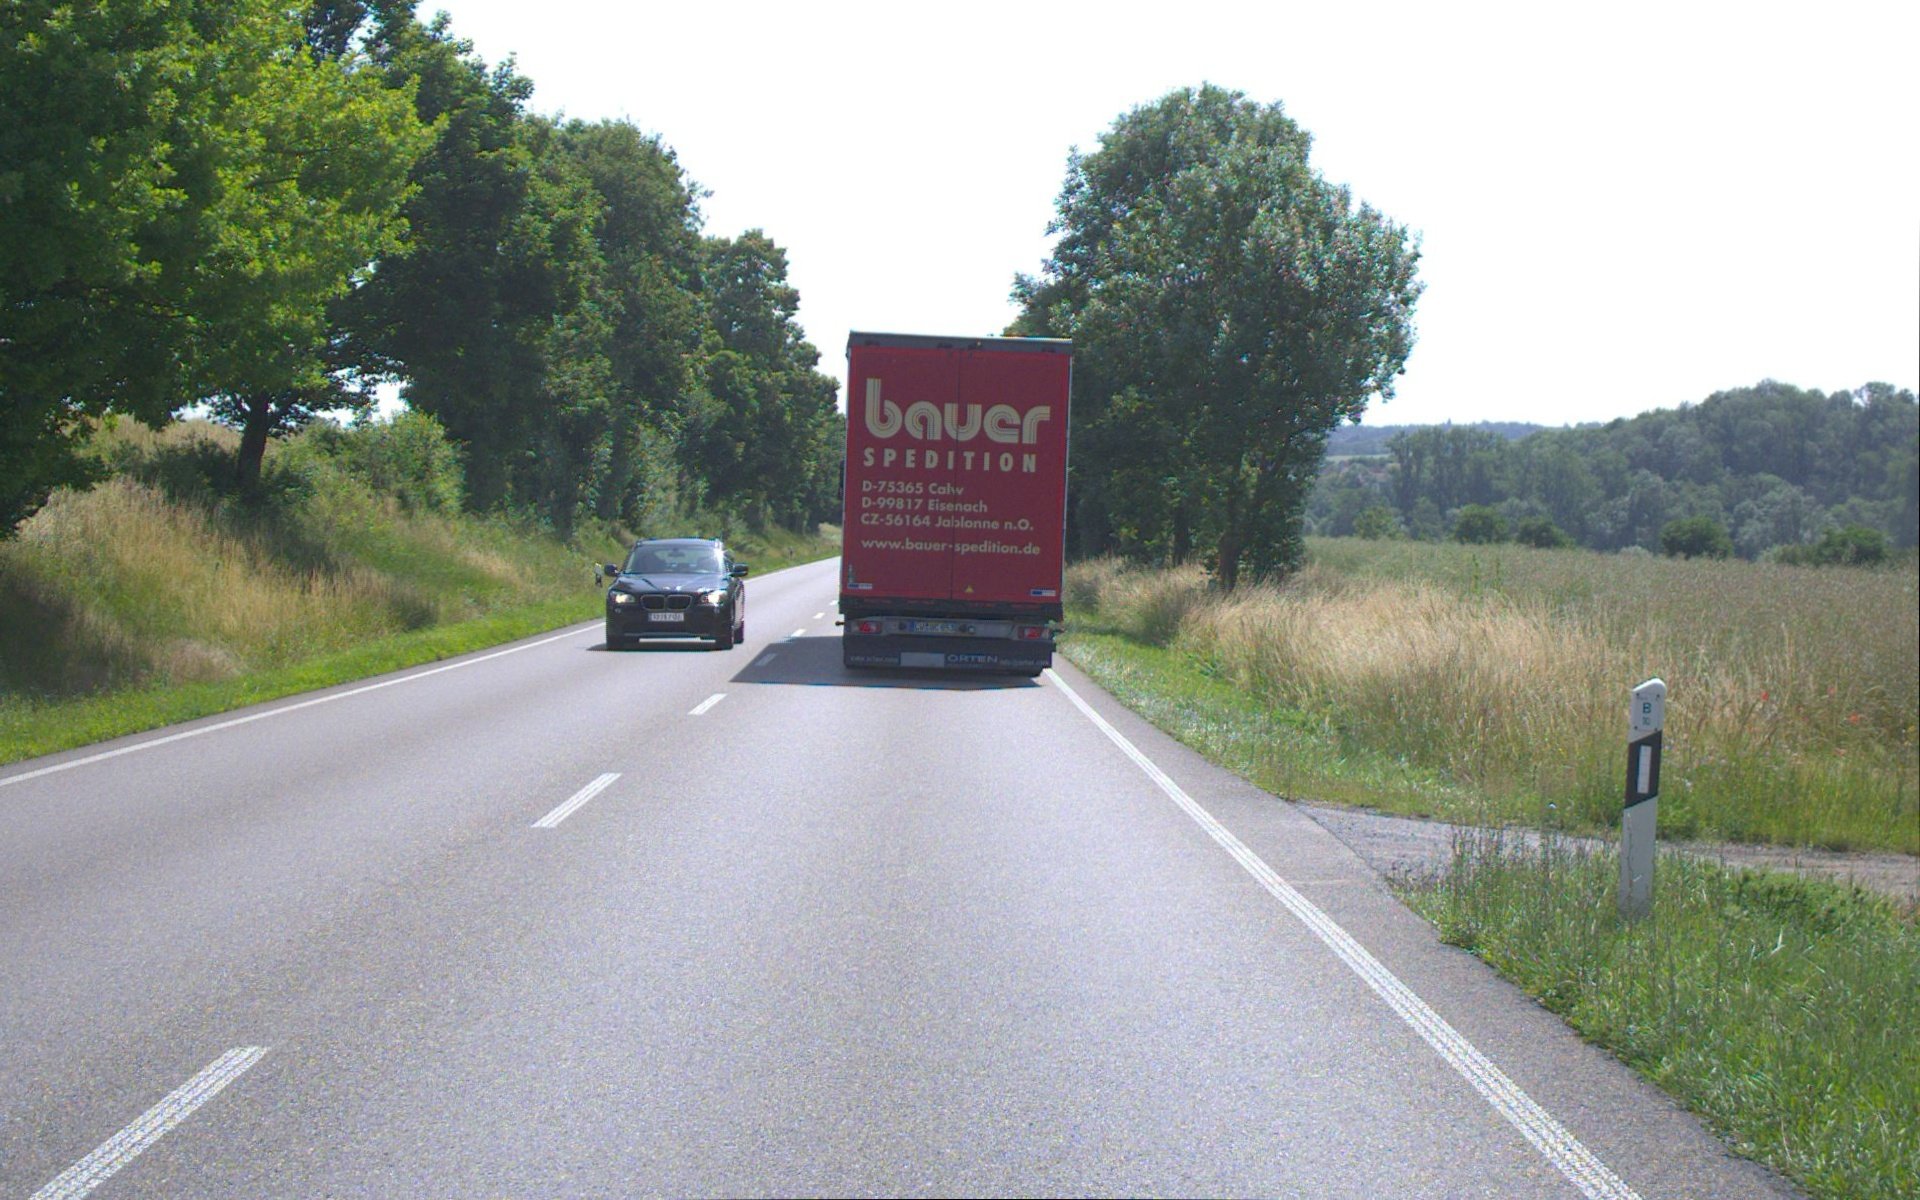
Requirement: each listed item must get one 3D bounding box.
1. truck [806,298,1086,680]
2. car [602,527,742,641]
[{"bbox_3d":[-0.199,-1.270,42.734,3.094,4.248,8.314,-1,0,-1],"label":"truck"},{"bbox_3d":[-4.049,-0.243,48.892,1.656,1.529,4.358,1,1,0],"label":"car"}]
